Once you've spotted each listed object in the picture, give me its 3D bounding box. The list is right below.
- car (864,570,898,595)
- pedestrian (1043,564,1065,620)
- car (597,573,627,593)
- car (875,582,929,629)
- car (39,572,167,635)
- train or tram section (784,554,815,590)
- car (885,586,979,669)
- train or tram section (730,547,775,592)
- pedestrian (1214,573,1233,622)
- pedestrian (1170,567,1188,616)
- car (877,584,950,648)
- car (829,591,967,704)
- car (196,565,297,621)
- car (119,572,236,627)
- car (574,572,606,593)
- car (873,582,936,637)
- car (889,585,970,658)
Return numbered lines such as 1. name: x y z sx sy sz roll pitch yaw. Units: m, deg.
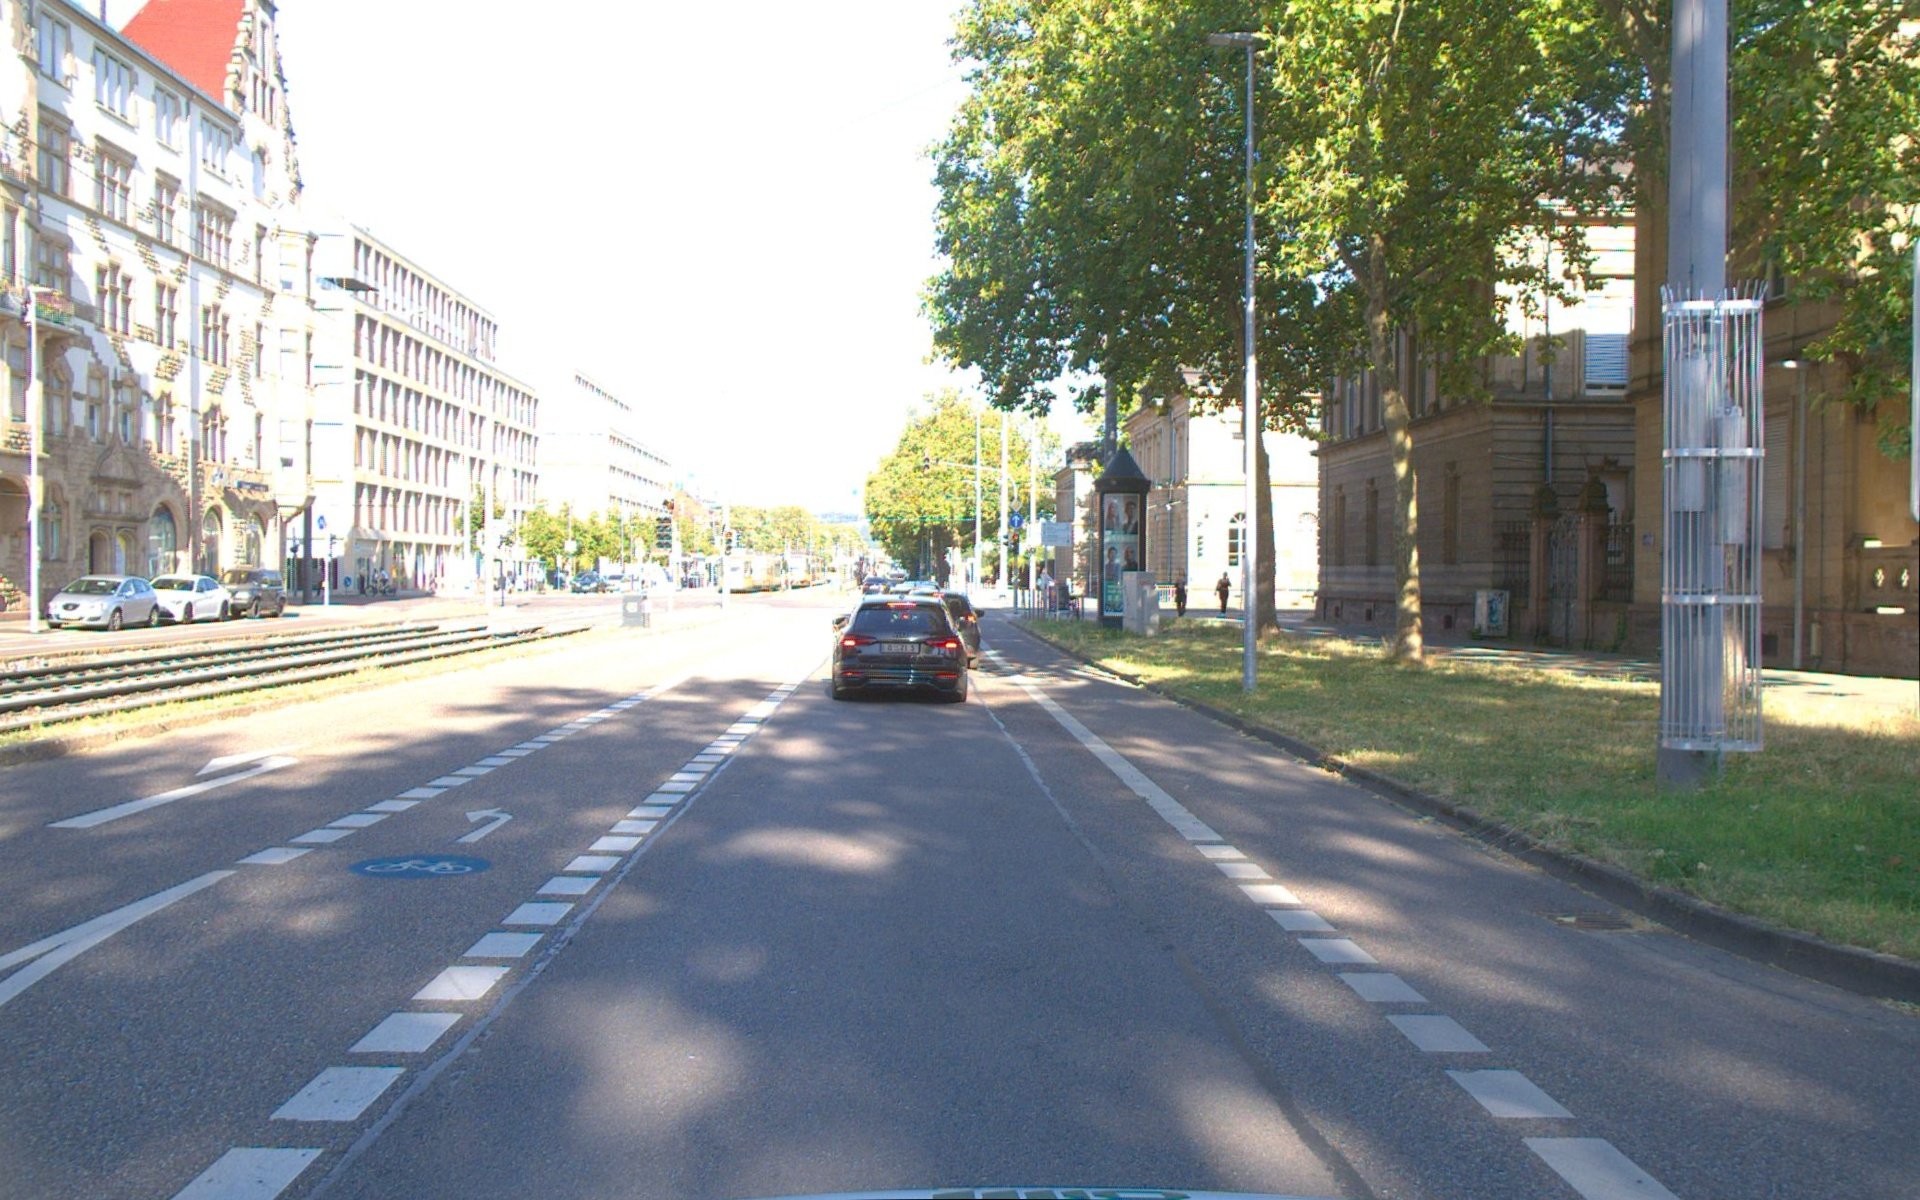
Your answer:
1. car: -5.139 -1.123 107.615 1.757 1.536 4.002 2 0 3
2. pedestrian: 2.994 -0.245 52.762 0.575 1.758 0.651 2 1 10
3. car: -27.336 -1.342 129.907 1.759 1.536 3.997 0 1 -4
4. car: -1.961 0.149 56.590 1.758 1.536 3.999 0 1 -2
5. car: -23.661 0.062 45.811 1.760 1.536 3.995 3 1 -7
6. train or tram section: -15.954 -2.789 165.011 2.769 3.511 9.058 0 1 -4
7. car: -0.573 0.495 33.088 1.758 1.536 3.999 0 1 -2
8. train or tram section: -16.766 -2.435 133.833 2.768 3.511 9.061 0 1 -2
9. pedestrian: 9.551 -0.099 59.943 0.575 1.758 0.651 2 1 12
10. pedestrian: 7.969 -0.310 60.197 0.575 1.758 0.651 2 1 10
11. car: -1.185 0.372 42.397 1.758 1.536 3.999 0 1 -2
12. car: -0.902 0.609 23.701 1.796 1.415 4.157 1 1 -3
13. car: -24.456 -0.261 56.833 1.759 1.748 4.182 3 1 -3
14. car: -24.178 -0.048 51.274 1.759 1.536 4.182 3 1 -3
15. car: -27.431 -1.291 122.769 1.759 1.536 3.997 0 1 -4
16. car: -1.593 0.241 48.162 1.758 1.536 3.999 0 1 -2
17. car: -0.706 0.447 37.707 1.758 1.536 3.999 0 1 -2
